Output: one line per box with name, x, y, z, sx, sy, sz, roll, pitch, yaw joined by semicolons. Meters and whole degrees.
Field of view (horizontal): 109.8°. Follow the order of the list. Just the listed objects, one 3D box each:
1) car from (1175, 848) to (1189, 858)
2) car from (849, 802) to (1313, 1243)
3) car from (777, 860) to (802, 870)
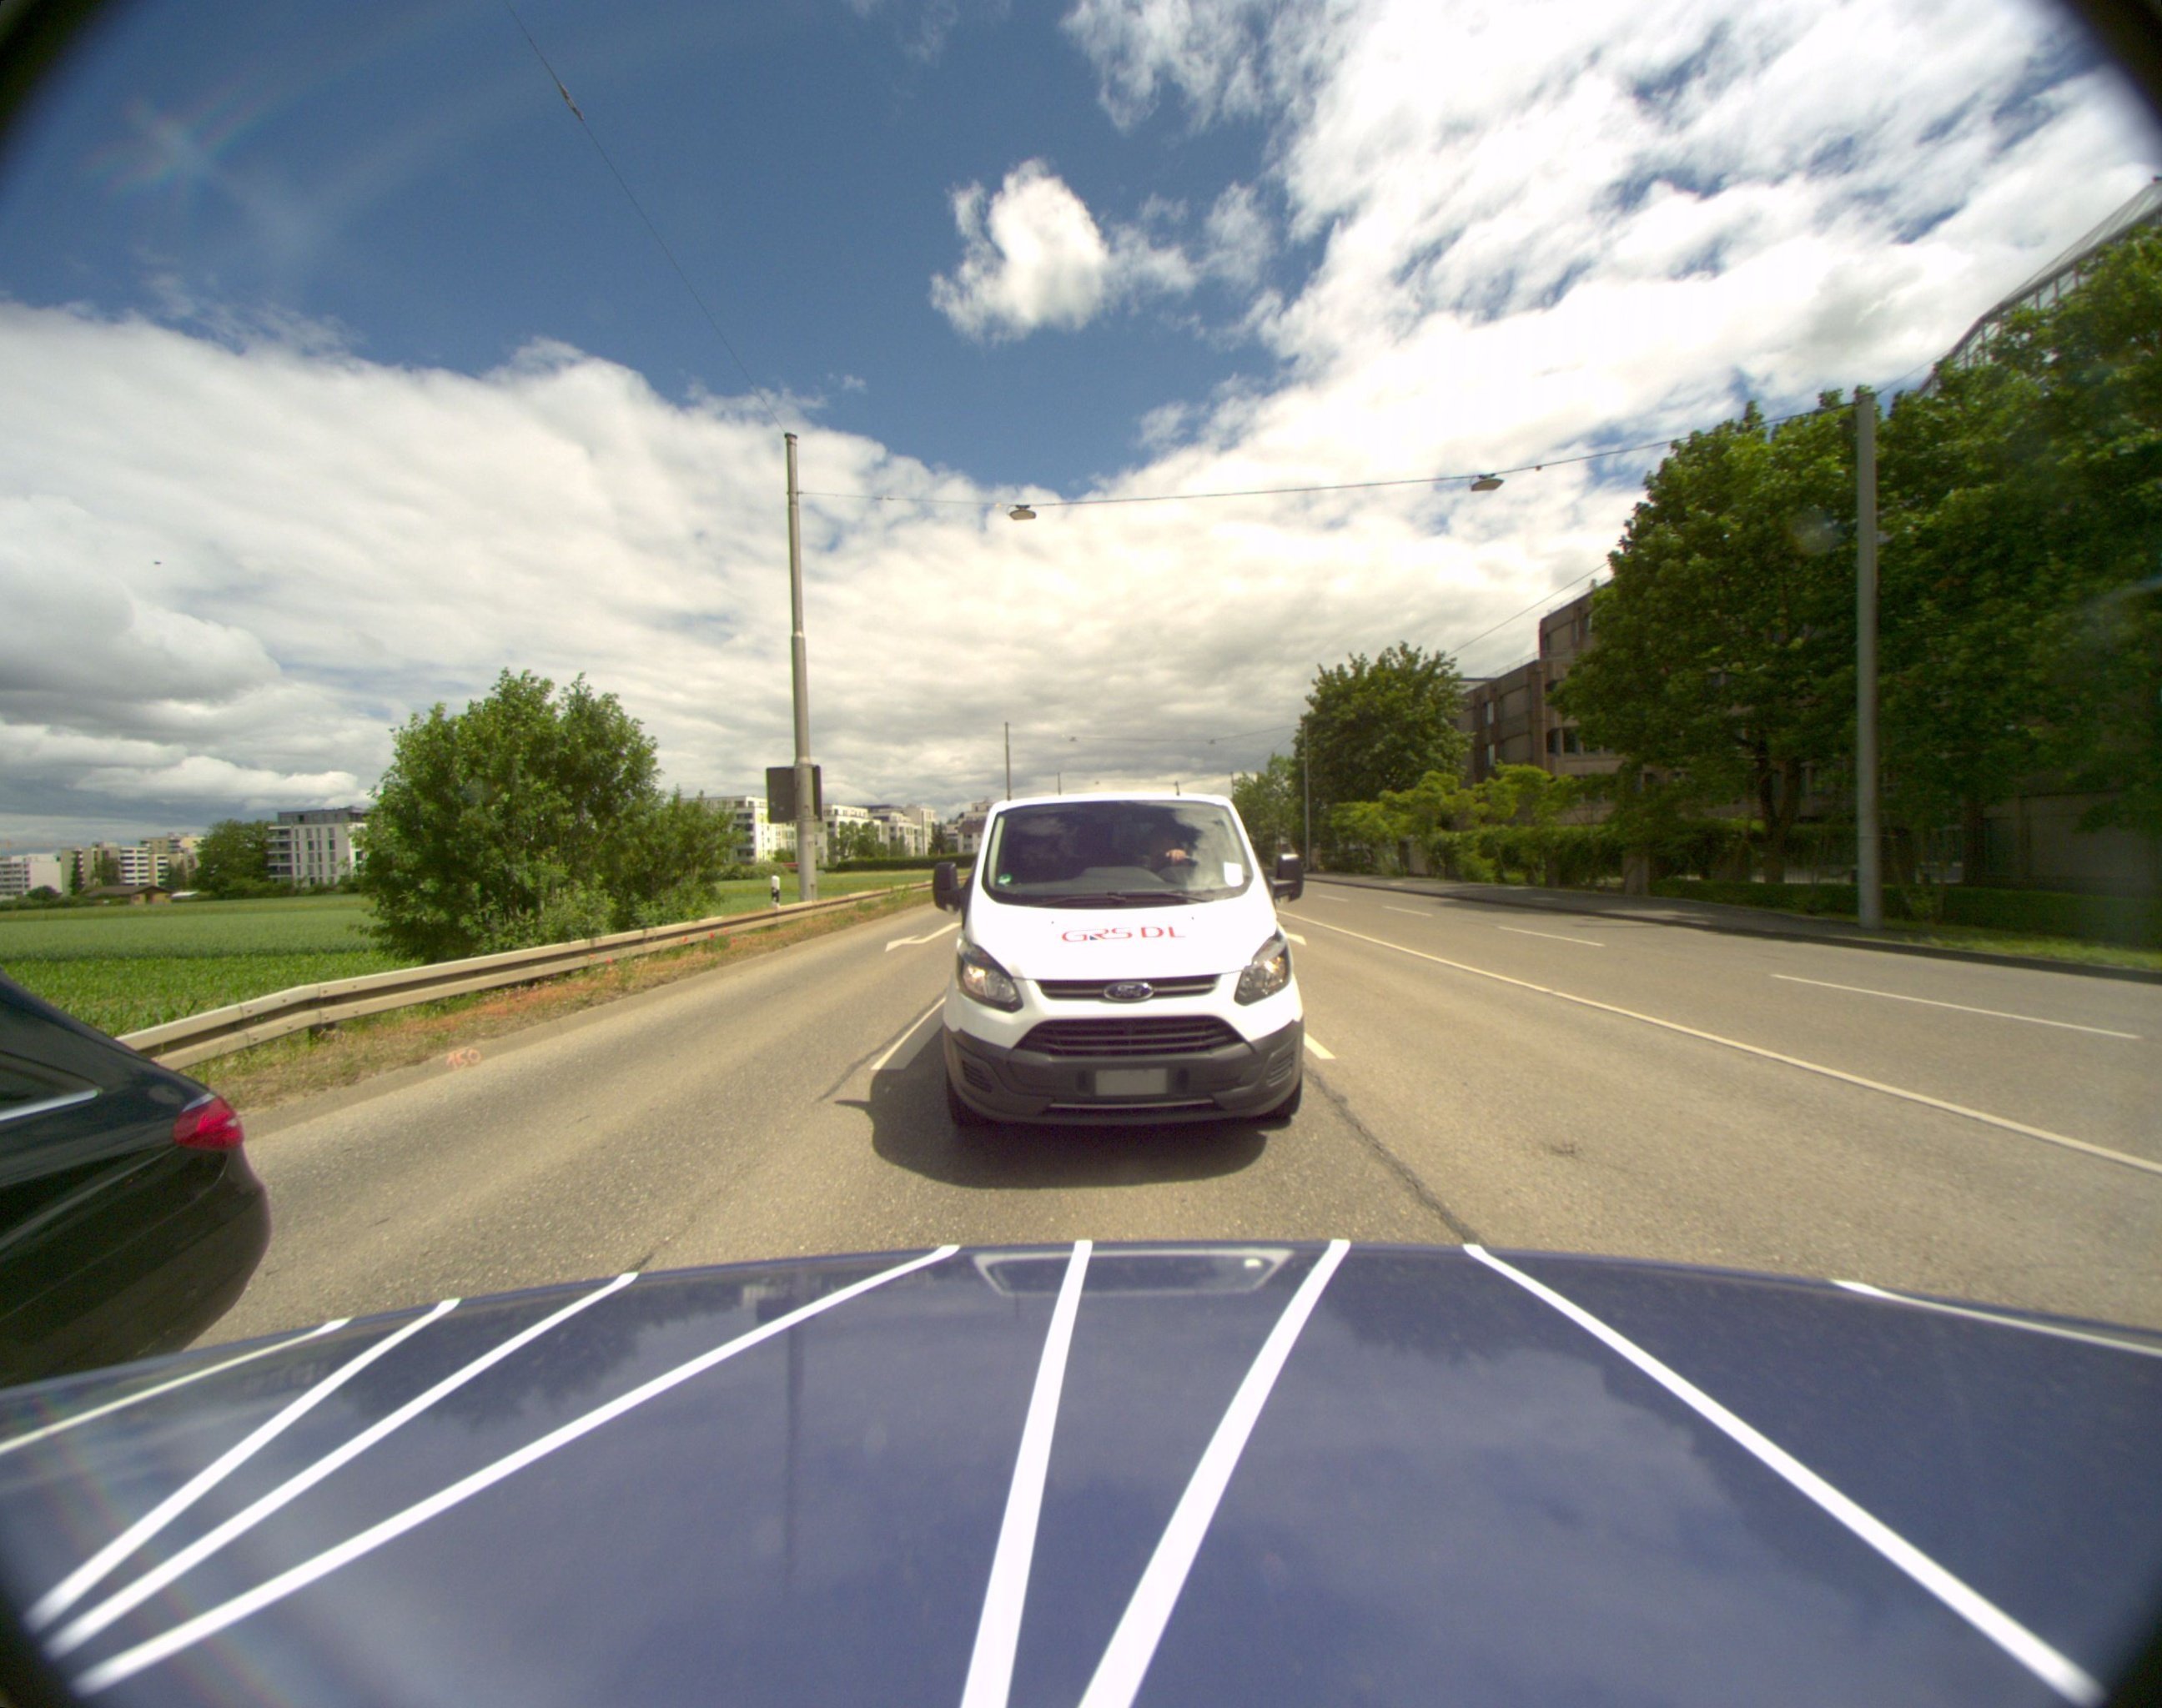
car;16.834;-0.135;126.528;1.872;1.605;4.571;-1;1;3
car;0.201;0.728;6.271;1.998;1.907;5.883;-1;0;4
car;-59.743;2.287;155.741;4.436;2.002;2.000;-1;1;2
